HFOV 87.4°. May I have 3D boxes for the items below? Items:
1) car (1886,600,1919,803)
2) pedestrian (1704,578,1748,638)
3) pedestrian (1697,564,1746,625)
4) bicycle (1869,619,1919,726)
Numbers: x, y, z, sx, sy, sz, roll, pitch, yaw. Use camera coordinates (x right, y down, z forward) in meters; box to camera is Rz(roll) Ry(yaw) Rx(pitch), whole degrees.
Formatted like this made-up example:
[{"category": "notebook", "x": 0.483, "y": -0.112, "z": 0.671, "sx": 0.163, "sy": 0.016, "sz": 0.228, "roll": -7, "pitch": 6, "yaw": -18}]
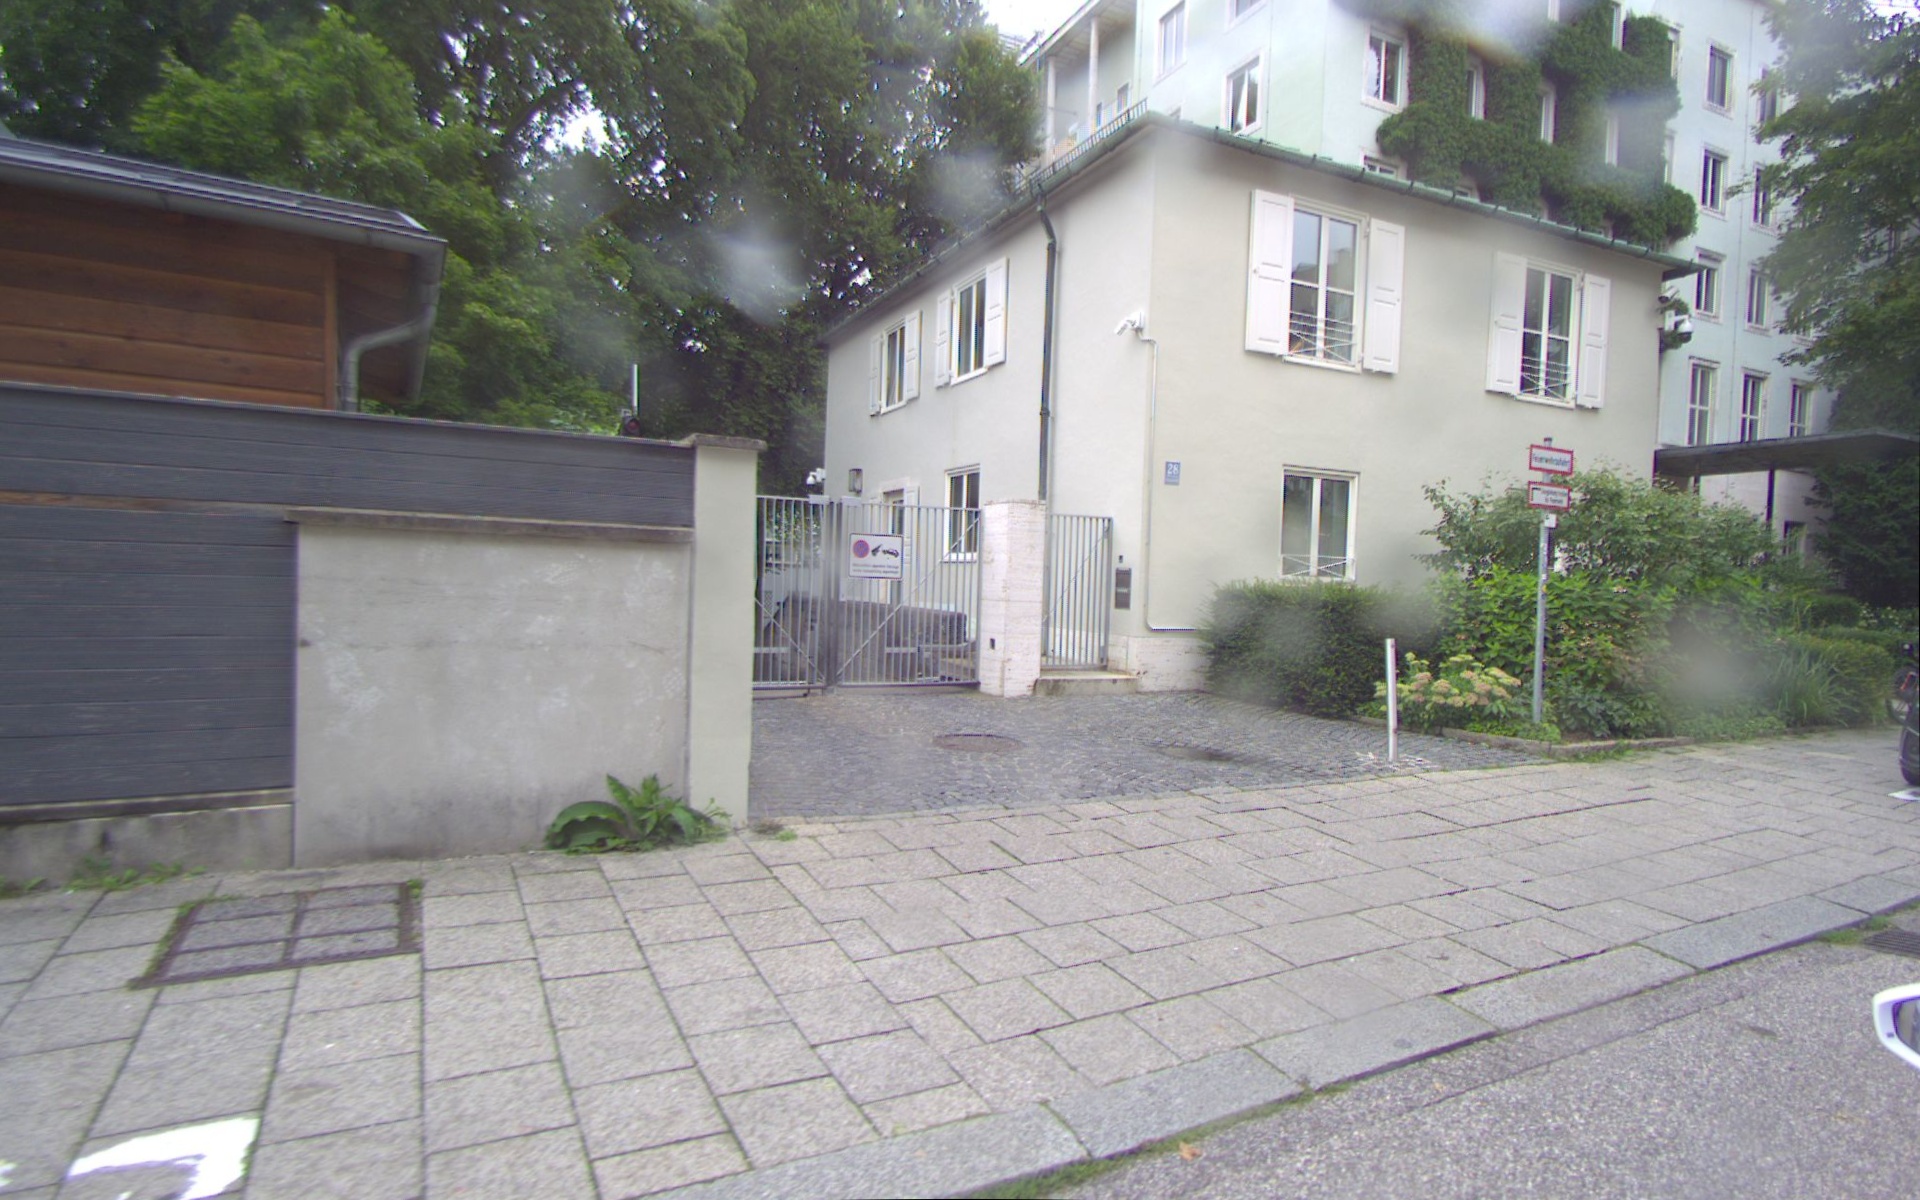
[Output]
[{"category": "car", "x": 9.213, "y": 0.795, "z": 7.692, "sx": 4.868, "sy": 1.421, "sz": 1.797, "roll": 1, "pitch": 3, "yaw": -31}, {"category": "pedestrian", "x": 23.506, "y": 0.244, "z": 30.824, "sx": 0.891, "sy": 1.776, "sz": 0.746, "roll": 2, "pitch": 1, "yaw": -31}, {"category": "pedestrian", "x": 22.847, "y": -0.168, "z": 30.154, "sx": 0.743, "sy": 1.776, "sz": 0.894, "roll": 1, "pitch": 2, "yaw": -29}, {"category": "bicycle", "x": 11.344, "y": 0.815, "z": 11.425, "sx": 2.017, "sy": 1.145, "sz": 0.648, "roll": 1, "pitch": 1, "yaw": -22}]
